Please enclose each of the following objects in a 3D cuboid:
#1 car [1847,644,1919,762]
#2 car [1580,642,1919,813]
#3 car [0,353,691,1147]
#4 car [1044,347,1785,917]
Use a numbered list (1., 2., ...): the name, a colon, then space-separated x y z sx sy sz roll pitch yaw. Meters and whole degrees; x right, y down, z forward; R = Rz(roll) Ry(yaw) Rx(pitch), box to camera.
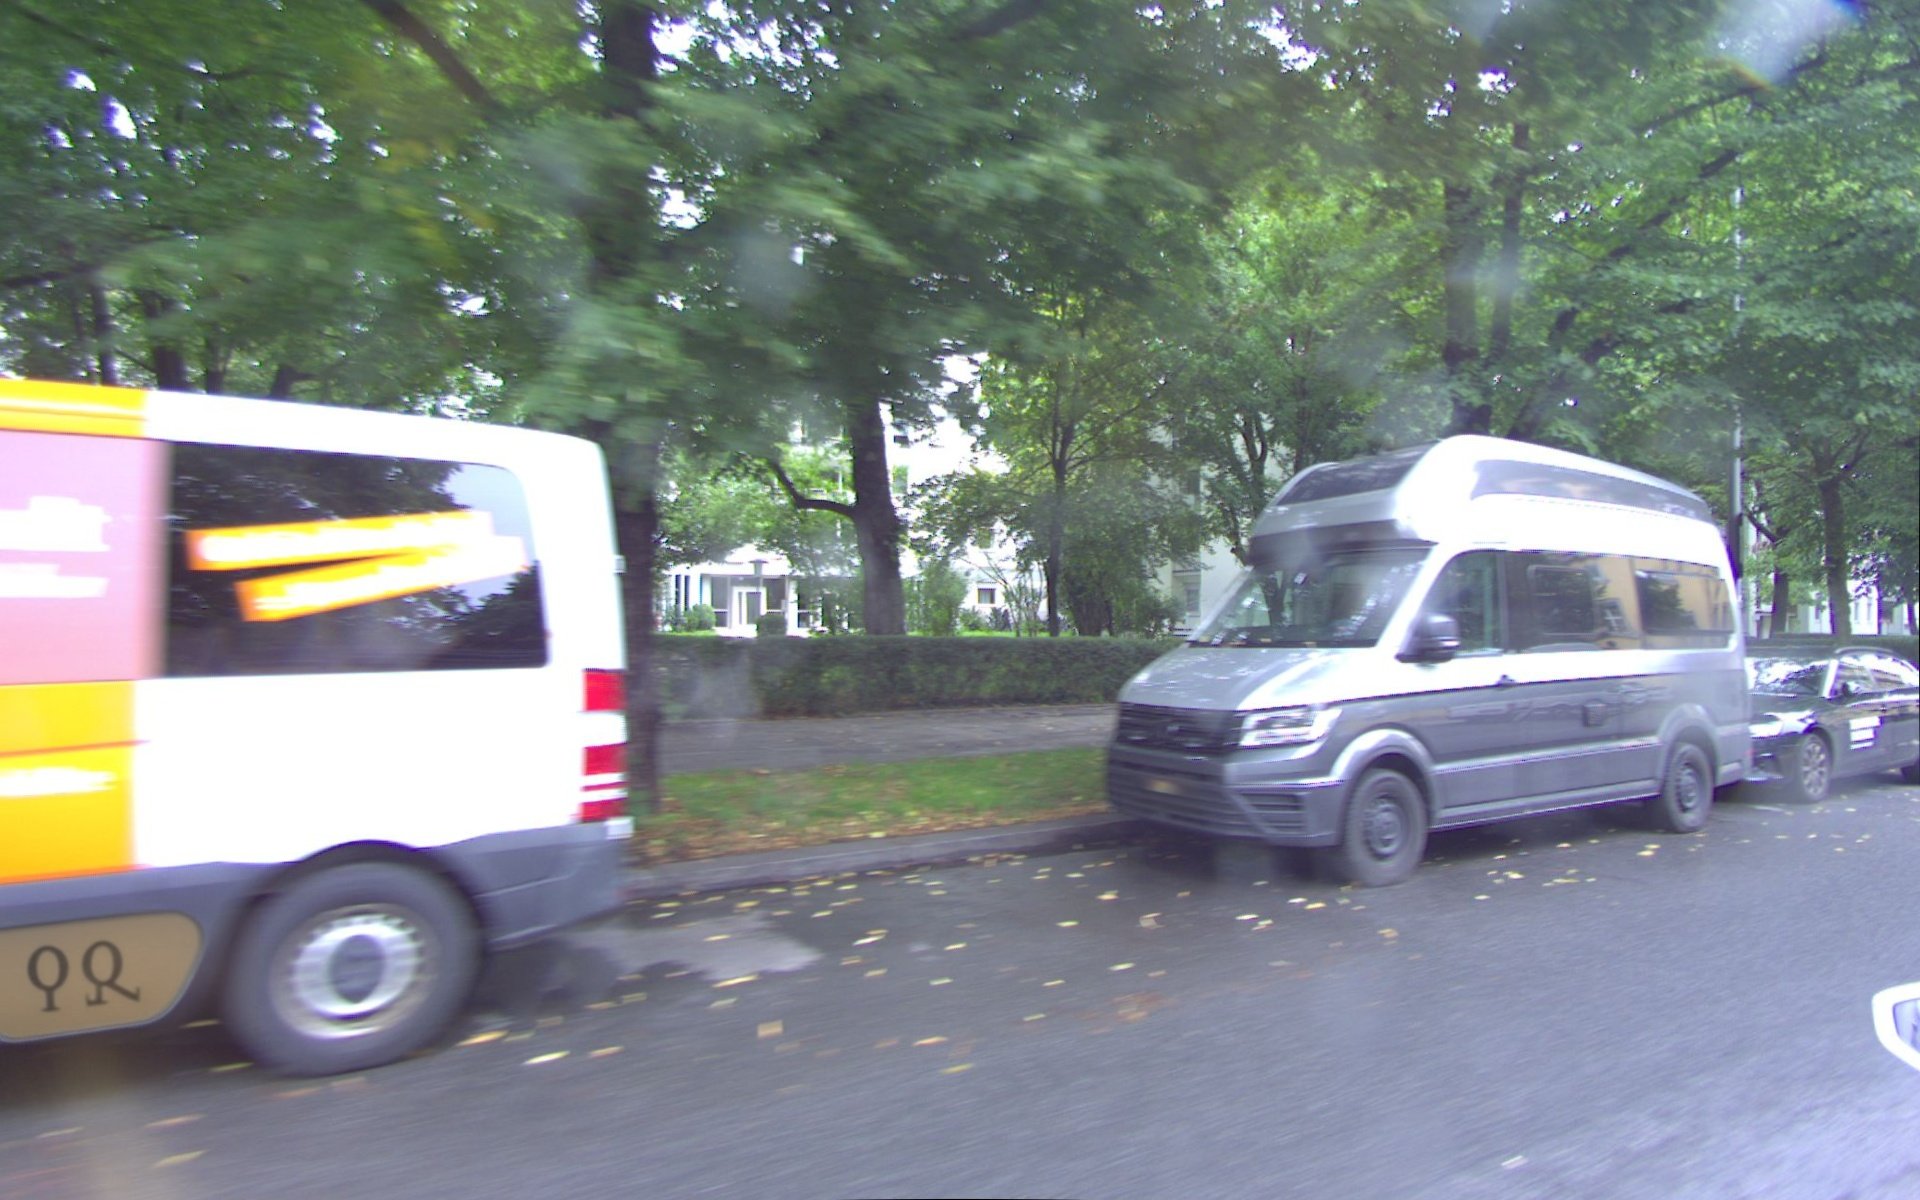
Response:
1. car: 13.663 1.314 13.197 4.084 1.439 1.982 2 -2 -33
2. car: 8.626 1.192 10.670 3.957 1.439 1.982 2 -2 -33
3. car: -3.953 0.457 3.446 5.535 2.294 2.075 1 -3 -29
4. car: 3.799 0.256 7.880 6.160 3.042 2.162 1 -2 -31
